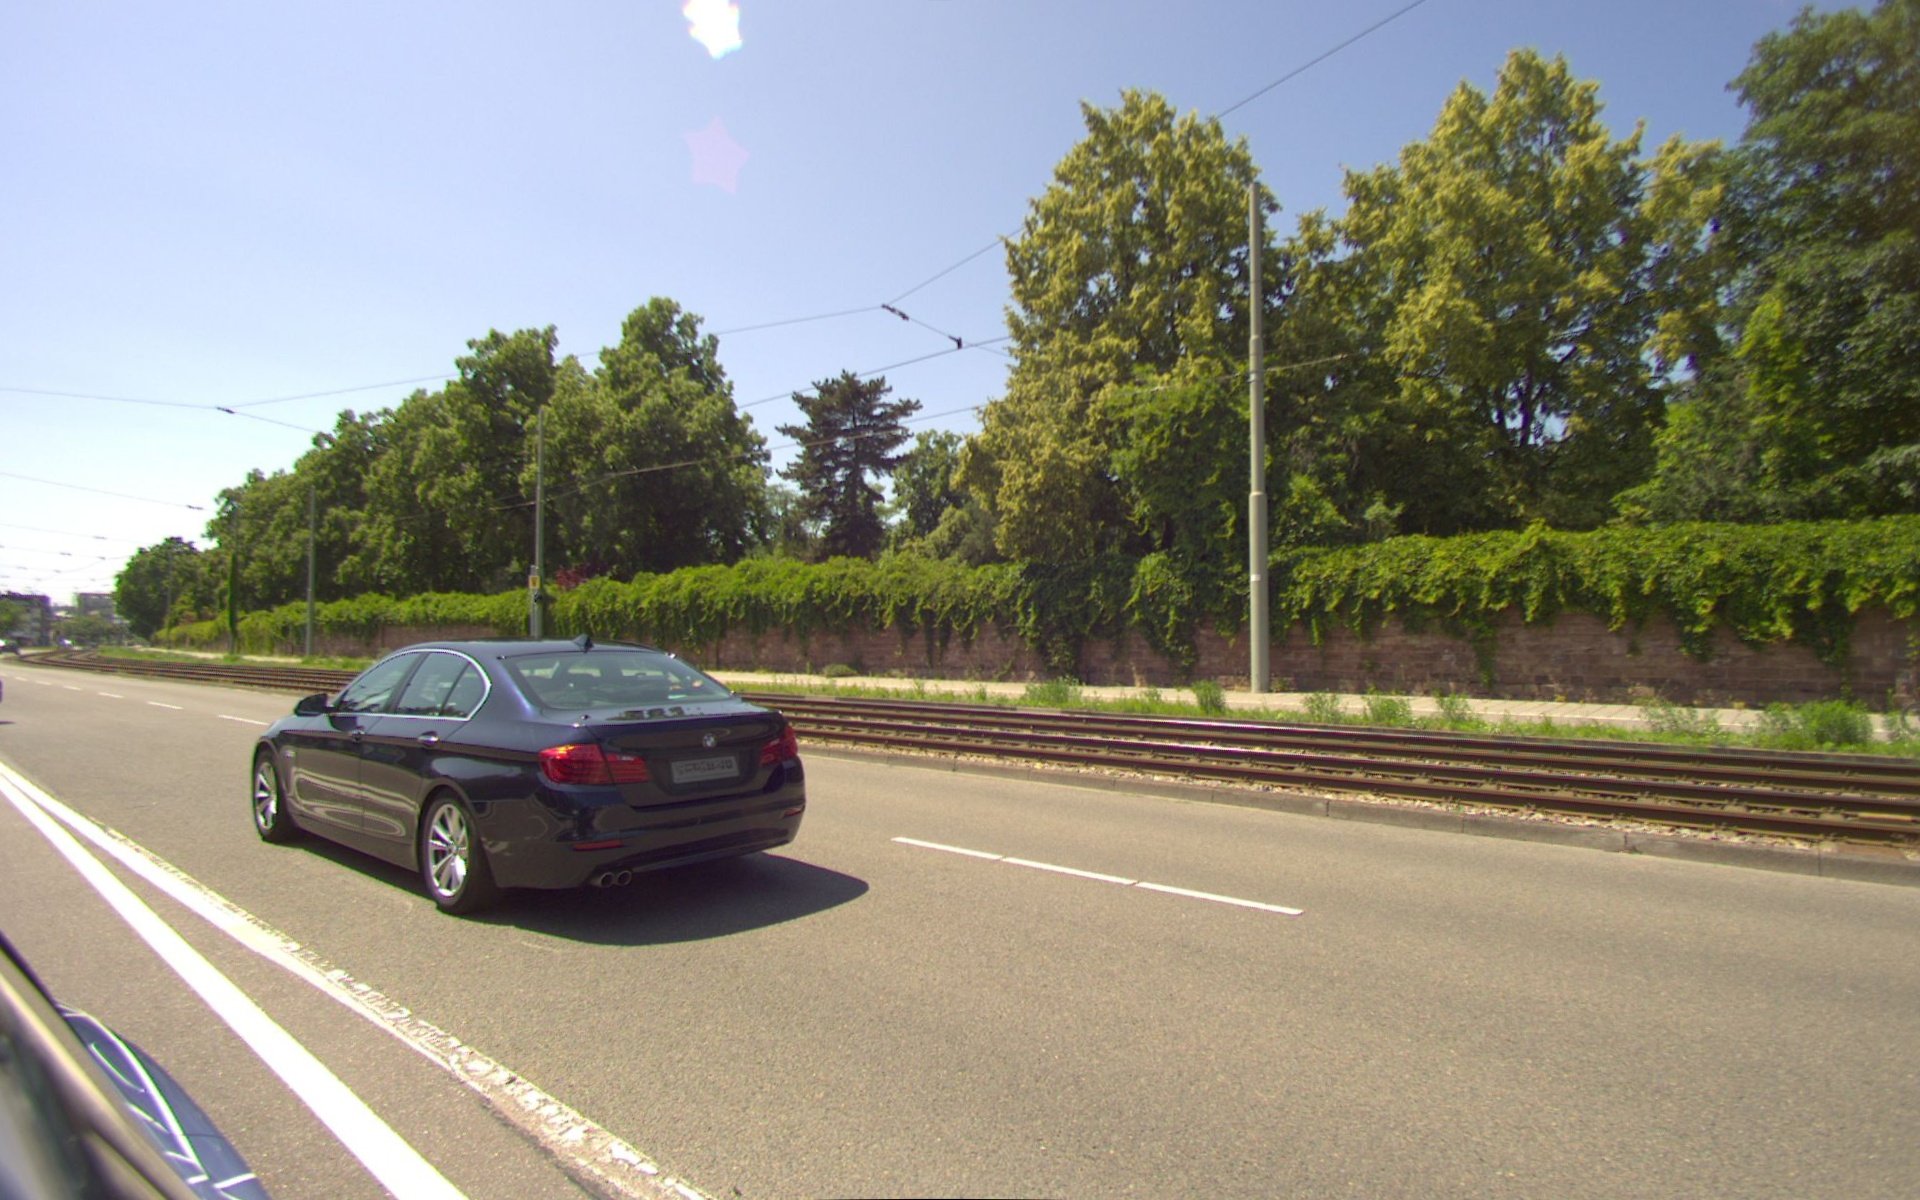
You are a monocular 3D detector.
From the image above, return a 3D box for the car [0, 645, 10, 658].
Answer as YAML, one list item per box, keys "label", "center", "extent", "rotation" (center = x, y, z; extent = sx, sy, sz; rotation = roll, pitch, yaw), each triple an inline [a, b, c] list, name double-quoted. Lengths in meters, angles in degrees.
- label: "car"
  center: [-106.241, 5.673, 111.832]
  extent: [1.671, 1.480, 4.005]
  rotation: [1, -3, -42]

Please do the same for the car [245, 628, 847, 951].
- label: "car"
  center: [-2.907, 0.918, 6.574]
  extent: [4.444, 1.410, 1.775]
  rotation: [-2, -3, 40]

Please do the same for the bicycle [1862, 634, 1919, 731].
- label: "bicycle"
  center: [12.424, 0.978, 11.871]
  extent: [2.686, 1.165, 0.819]
  rotation: [-2, -3, 44]

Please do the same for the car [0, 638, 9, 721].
- label: "car"
  center: [-18.672, 1.385, 16.932]
  extent: [4.088, 1.433, 1.717]
  rotation: [-1, -2, 4]
